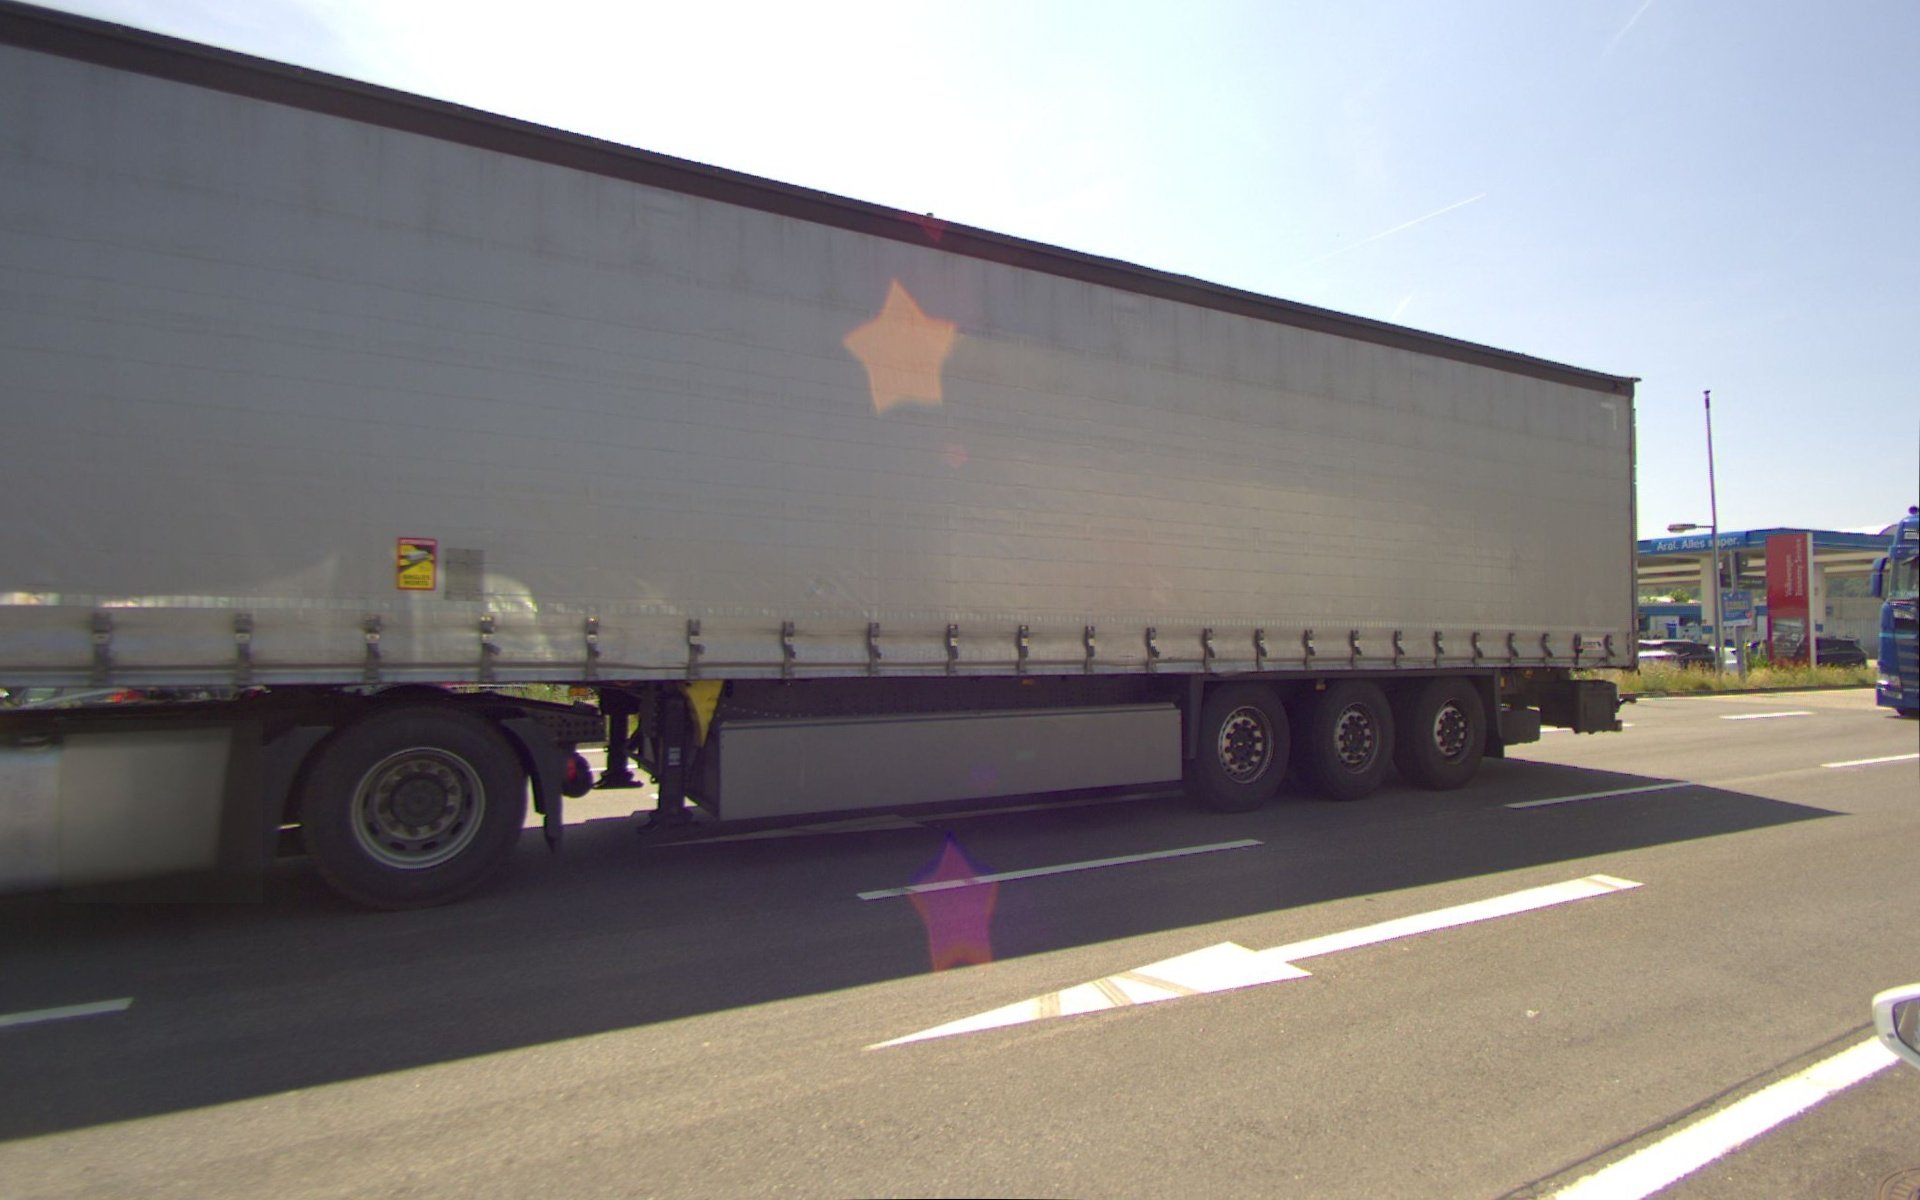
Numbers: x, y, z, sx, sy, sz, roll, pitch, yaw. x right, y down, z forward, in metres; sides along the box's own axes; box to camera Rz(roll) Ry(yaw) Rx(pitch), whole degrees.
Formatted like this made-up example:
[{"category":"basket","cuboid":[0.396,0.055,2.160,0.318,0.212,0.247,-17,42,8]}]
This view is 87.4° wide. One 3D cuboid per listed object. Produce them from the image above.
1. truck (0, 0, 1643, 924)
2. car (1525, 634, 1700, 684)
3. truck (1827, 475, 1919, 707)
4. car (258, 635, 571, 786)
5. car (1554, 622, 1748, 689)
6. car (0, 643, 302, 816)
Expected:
[{"category":"truck","cuboid":[-0.478,-0.505,7.682,16.292,3.940,2.776,2,-1,-31]},{"category":"car","cuboid":[18.730,1.652,28.963,4.112,1.264,1.777,0,-1,34]},{"category":"truck","cuboid":[23.893,0.110,20.704,16.782,3.940,2.834,2,-1,-26]},{"category":"car","cuboid":[-7.152,1.324,13.140,3.798,1.708,1.798,-1,-2,28]},{"category":"car","cuboid":[18.121,1.410,26.492,4.114,1.607,1.776,0,-1,36]},{"category":"car","cuboid":[-9.962,1.412,12.097,3.798,1.773,1.798,-1,-2,28]}]
